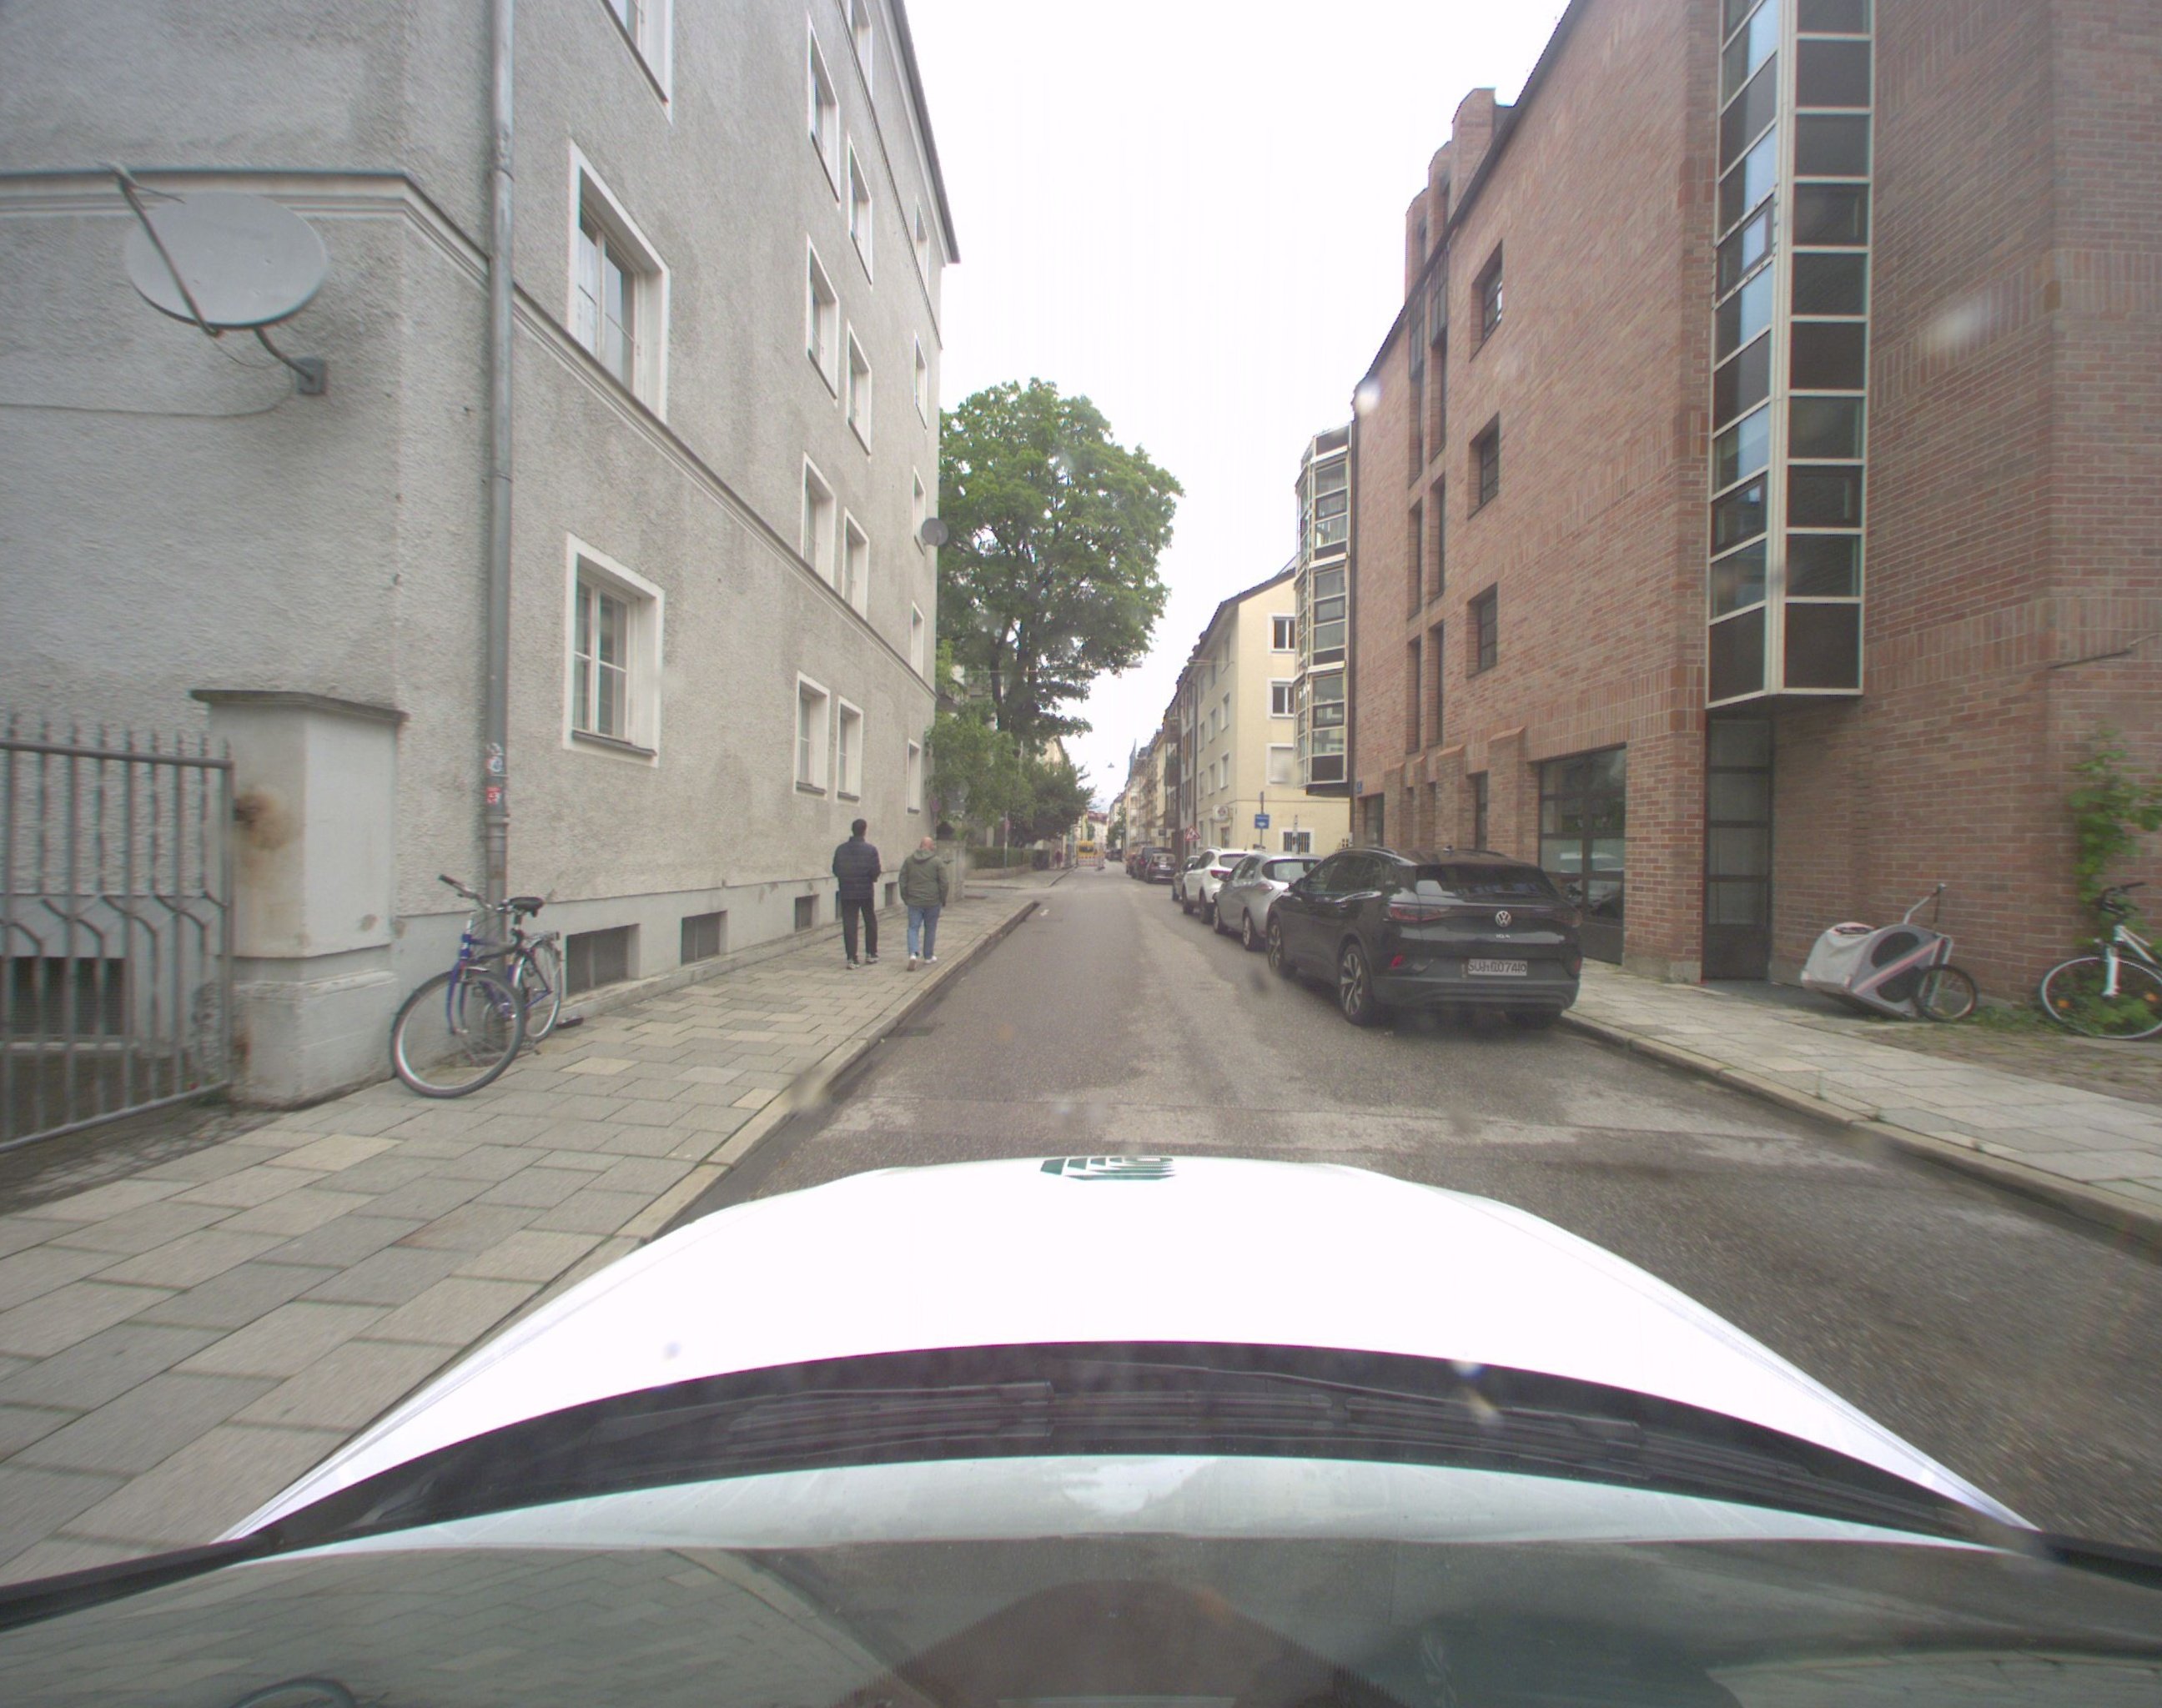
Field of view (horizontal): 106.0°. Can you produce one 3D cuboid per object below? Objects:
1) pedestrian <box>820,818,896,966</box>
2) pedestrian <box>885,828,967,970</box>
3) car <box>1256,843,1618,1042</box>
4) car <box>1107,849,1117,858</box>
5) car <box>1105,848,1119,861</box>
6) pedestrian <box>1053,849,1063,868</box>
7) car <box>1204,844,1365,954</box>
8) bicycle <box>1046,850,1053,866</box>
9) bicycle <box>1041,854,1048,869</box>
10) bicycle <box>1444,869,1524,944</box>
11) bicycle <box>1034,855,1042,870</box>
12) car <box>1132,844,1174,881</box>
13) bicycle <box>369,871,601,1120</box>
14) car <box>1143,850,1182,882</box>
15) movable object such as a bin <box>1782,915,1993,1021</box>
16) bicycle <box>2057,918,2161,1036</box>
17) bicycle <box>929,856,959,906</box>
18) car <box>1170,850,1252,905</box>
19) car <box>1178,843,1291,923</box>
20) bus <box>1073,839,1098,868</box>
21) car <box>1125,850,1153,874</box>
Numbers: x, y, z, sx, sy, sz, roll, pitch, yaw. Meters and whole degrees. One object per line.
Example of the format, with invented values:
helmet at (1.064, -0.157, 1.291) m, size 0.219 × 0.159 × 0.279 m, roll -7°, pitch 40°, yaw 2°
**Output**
pedestrian at (-2.704, 0.445, 9.945) m, size 0.610 × 1.713 × 0.823 m, roll 3°, pitch 0°, yaw 0°
pedestrian at (-1.916, 0.541, 10.164) m, size 0.750 × 1.659 × 0.906 m, roll 3°, pitch 0°, yaw 1°
car at (3.314, 0.699, 8.687) m, size 1.880 × 1.555 × 4.389 m, roll 1°, pitch 0°, yaw -1°
car at (5.747, -0.037, 151.265) m, size 1.794 × 1.614 × 4.001 m, roll 1°, pitch 0°, yaw 1°
car at (4.675, 0.078, 122.822) m, size 1.796 × 1.712 × 3.825 m, roll 4°, pitch 0°, yaw -1°
pedestrian at (-1.877, 0.369, 66.422) m, size 0.753 × 1.491 × 0.831 m, roll 0°, pitch 0°, yaw 1°
car at (3.355, 0.680, 14.173) m, size 1.716 × 1.635 × 3.878 m, roll 0°, pitch 0°, yaw -2°
bicycle at (-2.735, 0.330, 71.807) m, size 0.512 × 1.418 × 1.934 m, roll 0°, pitch 0°, yaw 1°
bicycle at (-2.622, 0.549, 58.999) m, size 0.445 × 1.073 × 2.467 m, roll 0°, pitch 0°, yaw 0°
bicycle at (6.336, 0.792, 12.868) m, size 0.557 × 1.079 × 1.472 m, roll 1°, pitch 0°, yaw 1°
bicycle at (-2.805, 0.554, 53.462) m, size 0.413 × 1.020 × 1.854 m, roll 0°, pitch 0°, yaw 1°
car at (3.954, 0.452, 45.174) m, size 1.796 × 1.820 × 3.998 m, roll 4°, pitch 0°, yaw -1°
bicycle at (-3.521, 0.730, 4.985) m, size 0.643 × 1.217 × 1.655 m, roll 0°, pitch 0°, yaw -18°
car at (4.036, 0.565, 40.812) m, size 1.619 × 1.487 × 3.809 m, roll 1°, pitch 0°, yaw 1°
movable object such as a bin at (7.274, 1.008, 7.401) m, size 1.082 × 0.832 × 0.844 m, roll 0°, pitch 0°, yaw 2°
bicycle at (8.513, 0.941, 6.343) m, size 1.311 × 0.859 × 0.414 m, roll 0°, pitch -1°, yaw 1°
bicycle at (-3.306, 0.628, 19.580) m, size 0.474 × 1.111 × 1.750 m, roll 1°, pitch 0°, yaw -16°
car at (3.738, 0.624, 23.980) m, size 1.739 × 1.445 × 3.999 m, roll 1°, pitch 0°, yaw 0°
car at (3.393, 0.592, 18.800) m, size 1.743 × 1.630 × 4.194 m, roll 0°, pitch 0°, yaw -1°
bus at (0.558, -0.021, 90.735) m, size 2.583 × 3.102 × 6.307 m, roll 0°, pitch 0°, yaw 1°
car at (4.016, 0.562, 57.059) m, size 1.630 × 1.514 × 3.829 m, roll 4°, pitch 0°, yaw 1°
